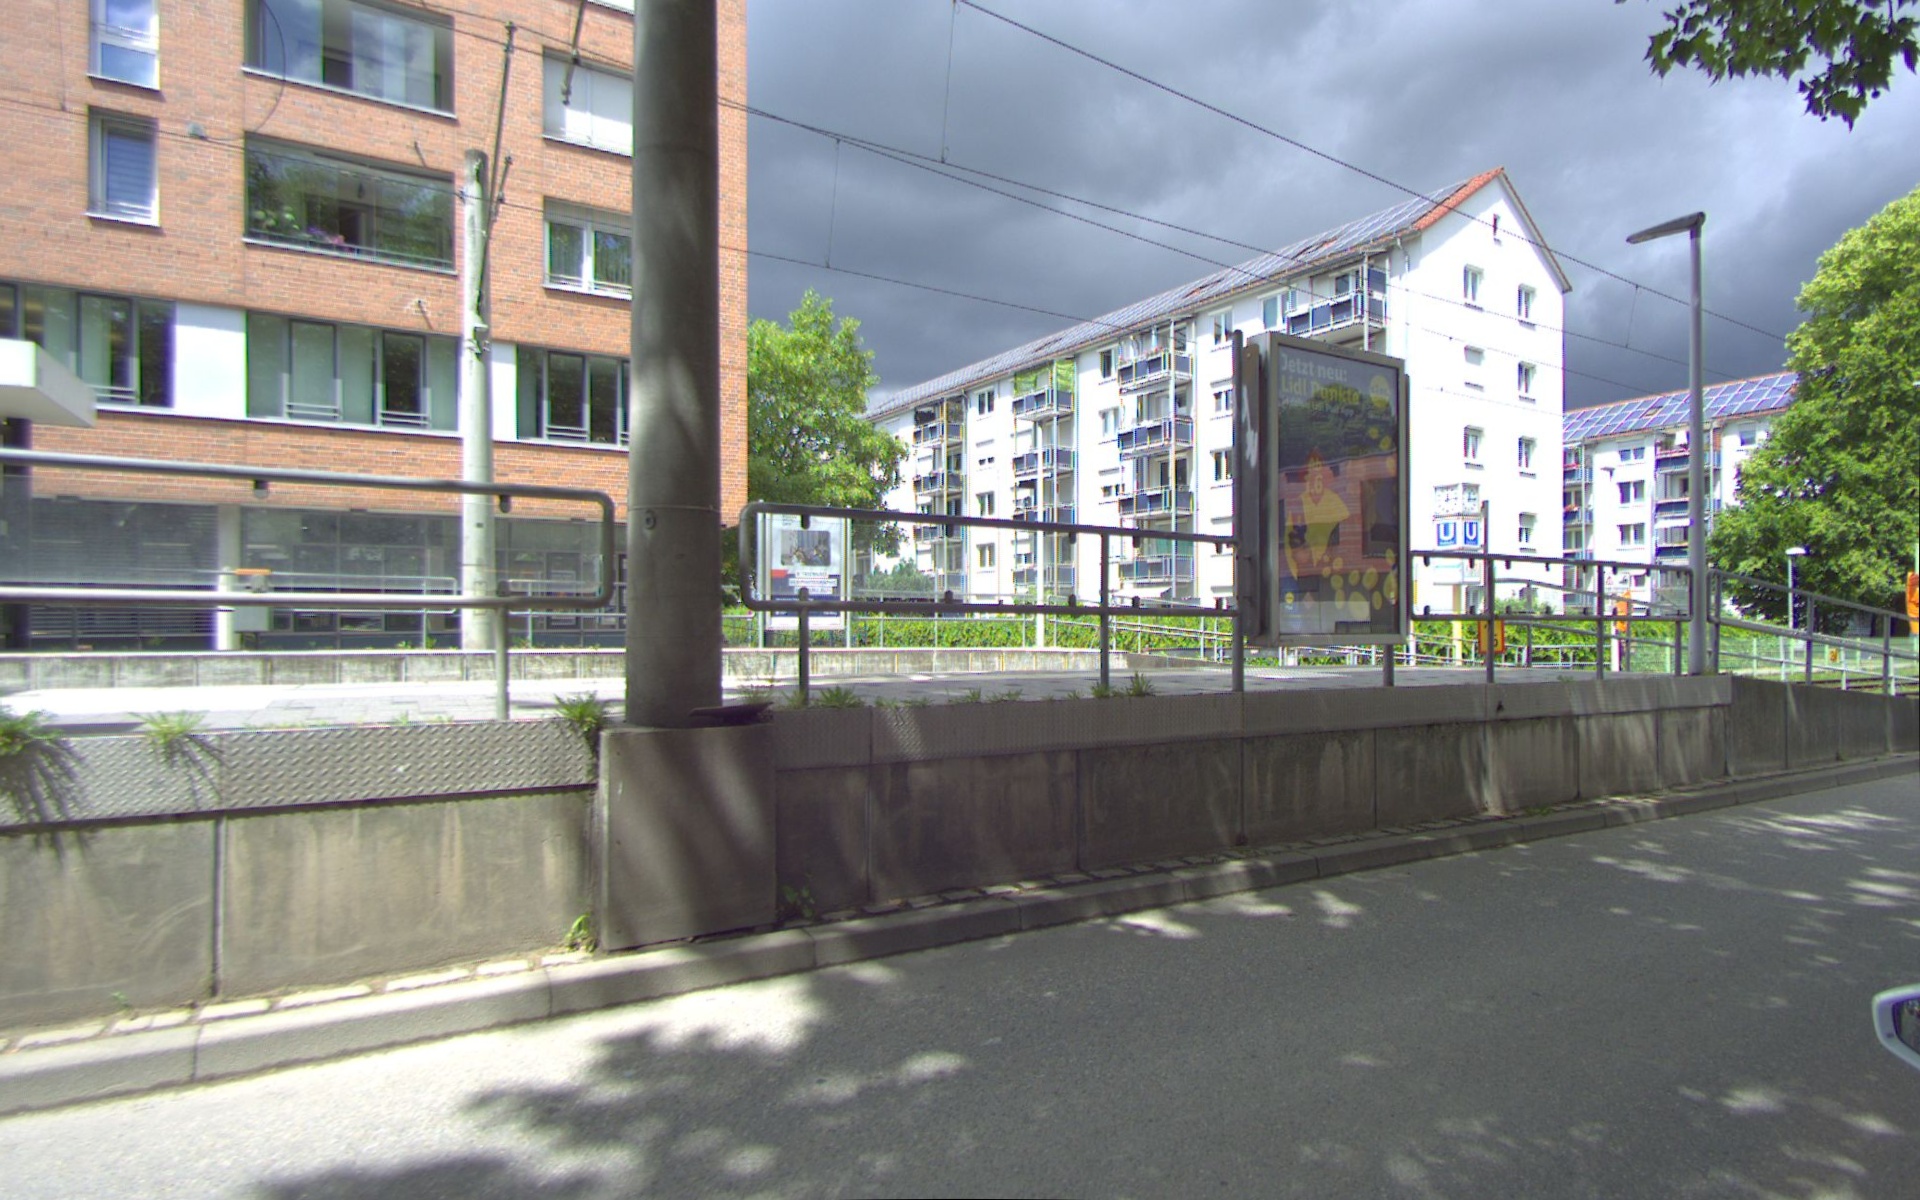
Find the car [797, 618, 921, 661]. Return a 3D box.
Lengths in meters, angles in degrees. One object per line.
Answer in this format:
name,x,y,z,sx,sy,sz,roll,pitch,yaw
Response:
car,-3.543,1.380,35.220,3.949,1.445,1.837,1,-2,-27

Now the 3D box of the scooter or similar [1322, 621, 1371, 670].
scooter or similar,10.261,1.204,26.690,0.458,1.270,1.295,0,-1,-20

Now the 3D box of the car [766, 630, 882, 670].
car,-5.071,1.832,37.442,3.949,1.445,1.837,1,-2,-27
